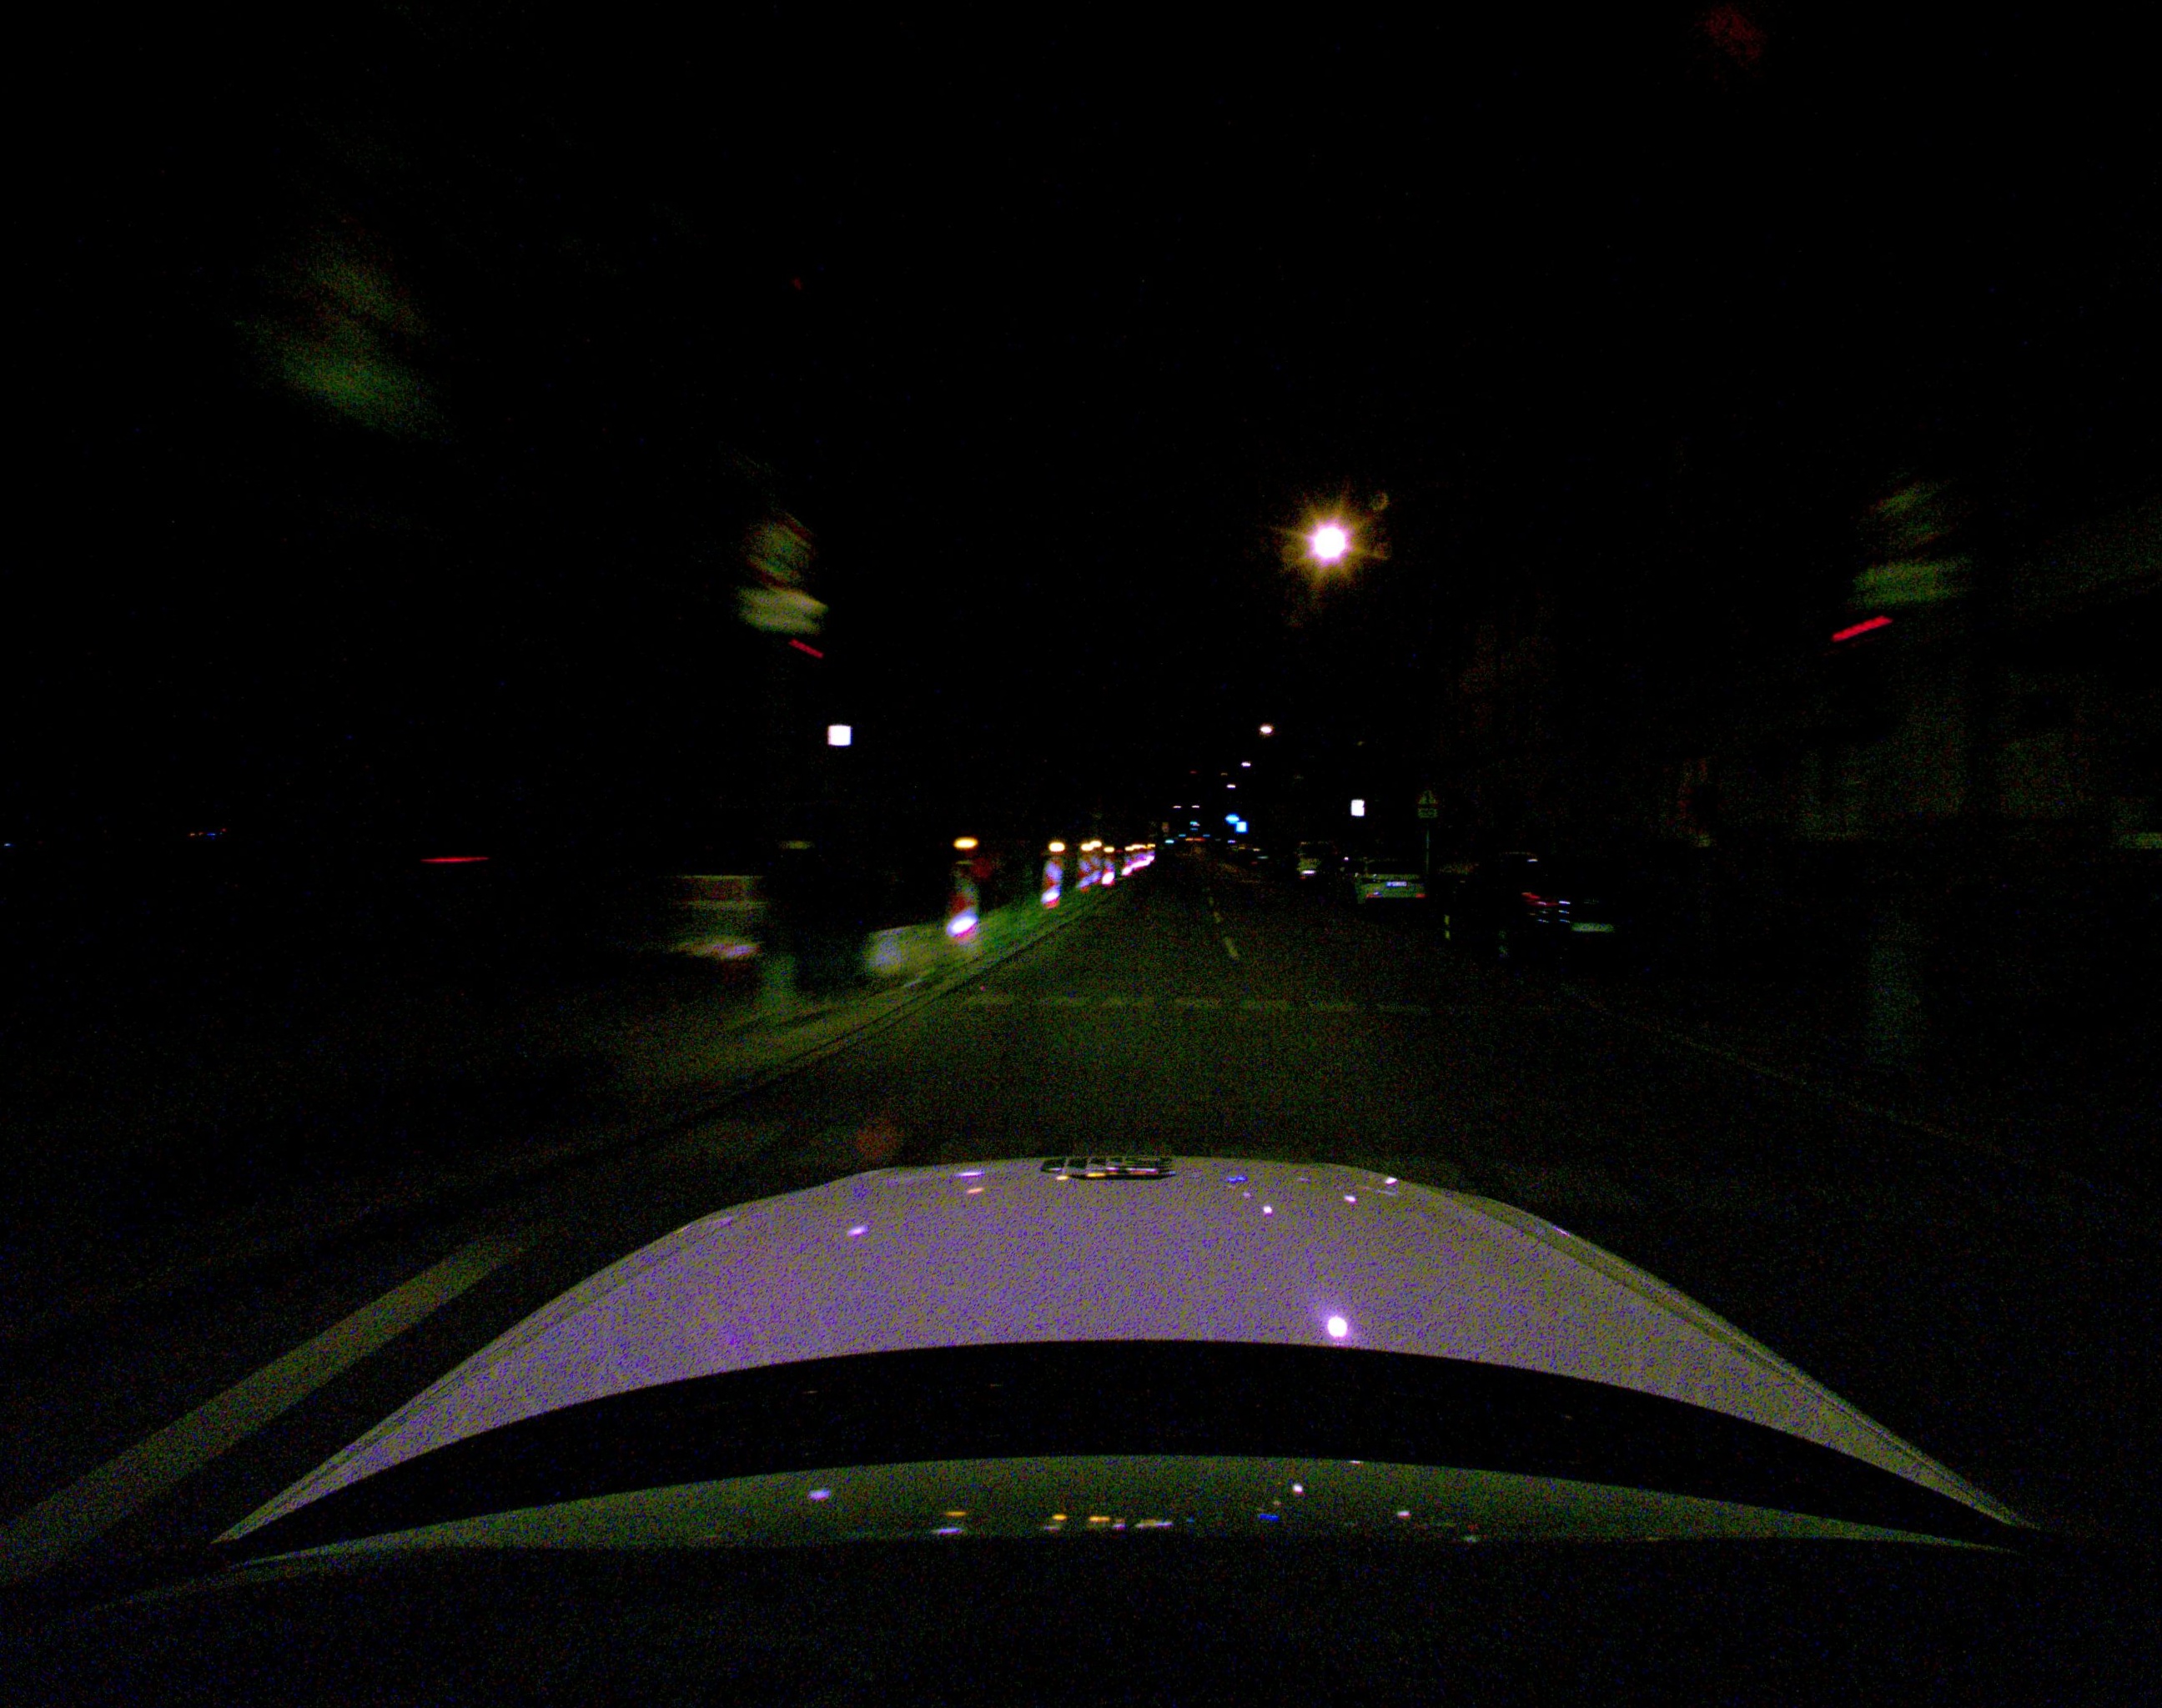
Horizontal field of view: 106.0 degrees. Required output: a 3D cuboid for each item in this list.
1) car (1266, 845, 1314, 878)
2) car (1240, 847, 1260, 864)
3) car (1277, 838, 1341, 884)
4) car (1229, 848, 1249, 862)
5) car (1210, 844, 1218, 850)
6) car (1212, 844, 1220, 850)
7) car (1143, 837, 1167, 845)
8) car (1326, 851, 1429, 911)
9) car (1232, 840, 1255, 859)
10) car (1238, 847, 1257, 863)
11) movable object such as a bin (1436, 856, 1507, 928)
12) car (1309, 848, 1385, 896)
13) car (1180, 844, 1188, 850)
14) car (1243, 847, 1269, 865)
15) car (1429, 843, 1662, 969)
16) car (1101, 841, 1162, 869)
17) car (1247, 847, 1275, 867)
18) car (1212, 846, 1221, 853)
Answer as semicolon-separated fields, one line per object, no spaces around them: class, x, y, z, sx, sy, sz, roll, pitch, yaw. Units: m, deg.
car;11.072;0.381;43.384;1.810;1.599;4.227;-2;0;5
car;15.200;0.087;73.370;1.586;1.467;3.727;1;0;8
car;10.373;0.300;37.505;2.061;1.928;5.382;-1;0;7
car;17.212;0.142;88.861;1.807;1.427;4.197;-1;1;7
car;33.969;-1.719;208.437;1.982;1.520;4.010;1;0;9
car;33.524;-1.785;201.869;1.982;1.520;4.010;1;0;9
car;14.156;-2.476;155.003;4.415;1.449;2.004;1;0;7
car;8.398;0.695;23.498;1.734;1.508;4.843;-1;0;7
car;16.707;-0.471;84.058;1.792;1.875;4.781;-1;1;5
car;16.009;0.096;78.289;1.586;1.467;3.901;1;0;8
movable object such as a bin;8.245;0.782;17.271;0.933;1.432;1.340;-1;0;4
car;9.285;0.585;28.714;1.734;1.565;4.219;-1;0;7
car;24.952;-1.665;197.413;1.982;1.502;4.009;1;0;8
car;14.564;0.188;68.081;1.769;1.426;3.899;1;0;7
car;7.142;0.693;13.086;1.734;1.683;4.266;-1;0;7
car;3.625;0.069;58.407;3.954;1.889;1.918;1;0;20
car;13.600;0.200;61.712;1.768;1.426;4.492;1;0;9
car;29.630;-0.975;178.248;1.982;1.516;4.011;2;1;9
